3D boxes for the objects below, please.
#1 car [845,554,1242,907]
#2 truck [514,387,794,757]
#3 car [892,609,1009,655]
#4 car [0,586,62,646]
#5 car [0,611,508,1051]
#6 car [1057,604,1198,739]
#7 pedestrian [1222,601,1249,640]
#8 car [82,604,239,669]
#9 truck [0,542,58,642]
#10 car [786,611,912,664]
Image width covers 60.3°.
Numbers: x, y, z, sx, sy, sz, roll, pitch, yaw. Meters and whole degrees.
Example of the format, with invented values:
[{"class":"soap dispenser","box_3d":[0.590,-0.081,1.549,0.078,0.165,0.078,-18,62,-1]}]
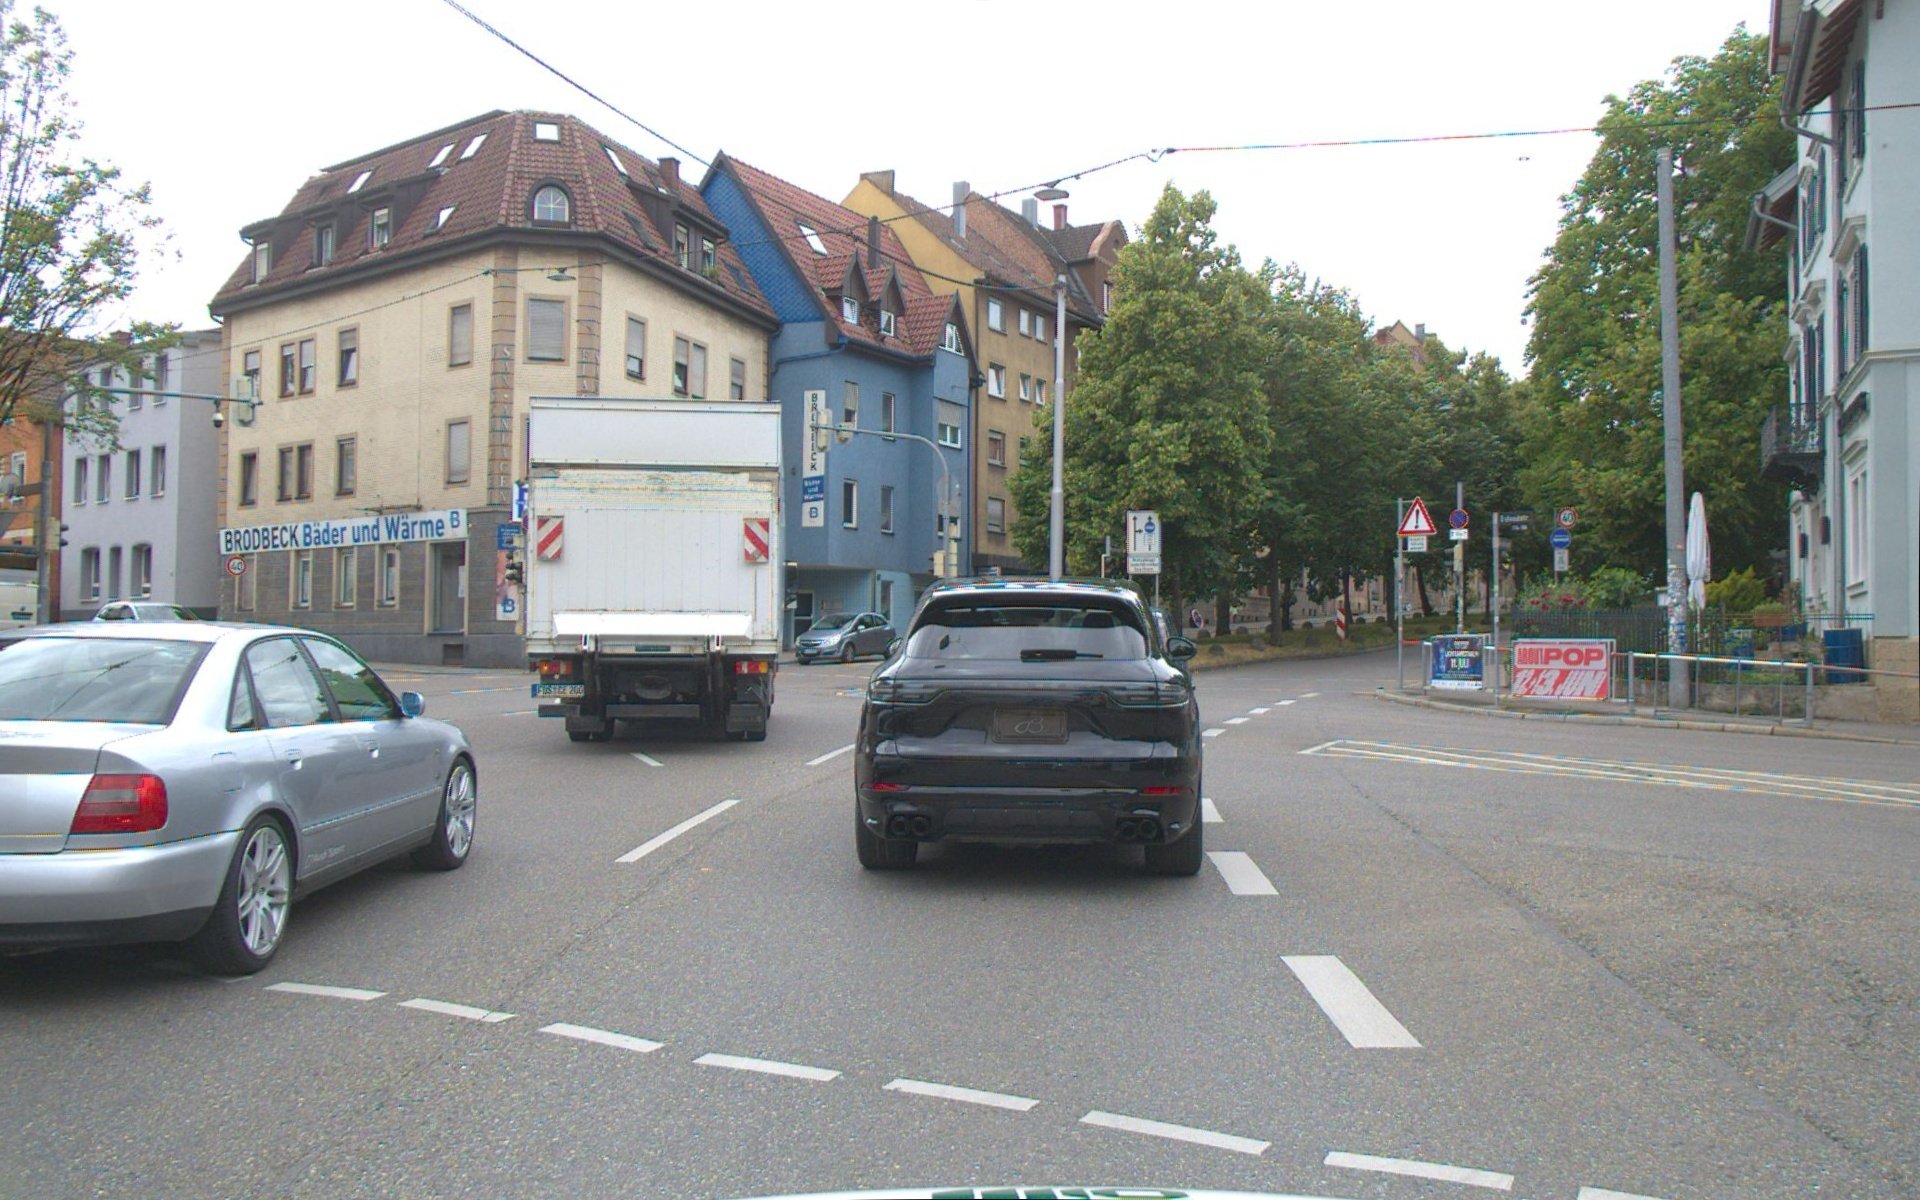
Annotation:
[{"class":"car","box_3d":[0.548,0.653,10.649,1.989,1.753,4.502,1,0,3]},{"class":"truck","box_3d":[-3.437,-0.252,20.546,2.673,3.606,8.410,1,0,-6]},{"class":"car","box_3d":[-0.260,1.075,54.774,1.834,1.441,4.690,0,-2,29]},{"class":"car","box_3d":[-30.431,0.465,52.103,4.247,1.831,2.058,1,0,34]},{"class":"car","box_3d":[-3.481,0.791,7.631,1.595,1.389,4.128,2,0,0]},{"class":"car","box_3d":[2.291,0.897,21.914,1.613,1.583,3.585,2,-1,9]},{"class":"pedestrian","box_3d":[14.537,1.081,87.228,1.169,2.049,0.988,1,-1,27]},{"class":"car","box_3d":[-19.376,0.867,40.036,3.898,1.495,1.872,0,-2,37]},{"class":"truck","box_3d":[-34.671,-0.317,58.759,5.335,3.413,2.686,1,-1,39]},{"class":"car","box_3d":[-3.209,1.097,48.807,1.684,1.502,4.211,-2,-1,29]}]
